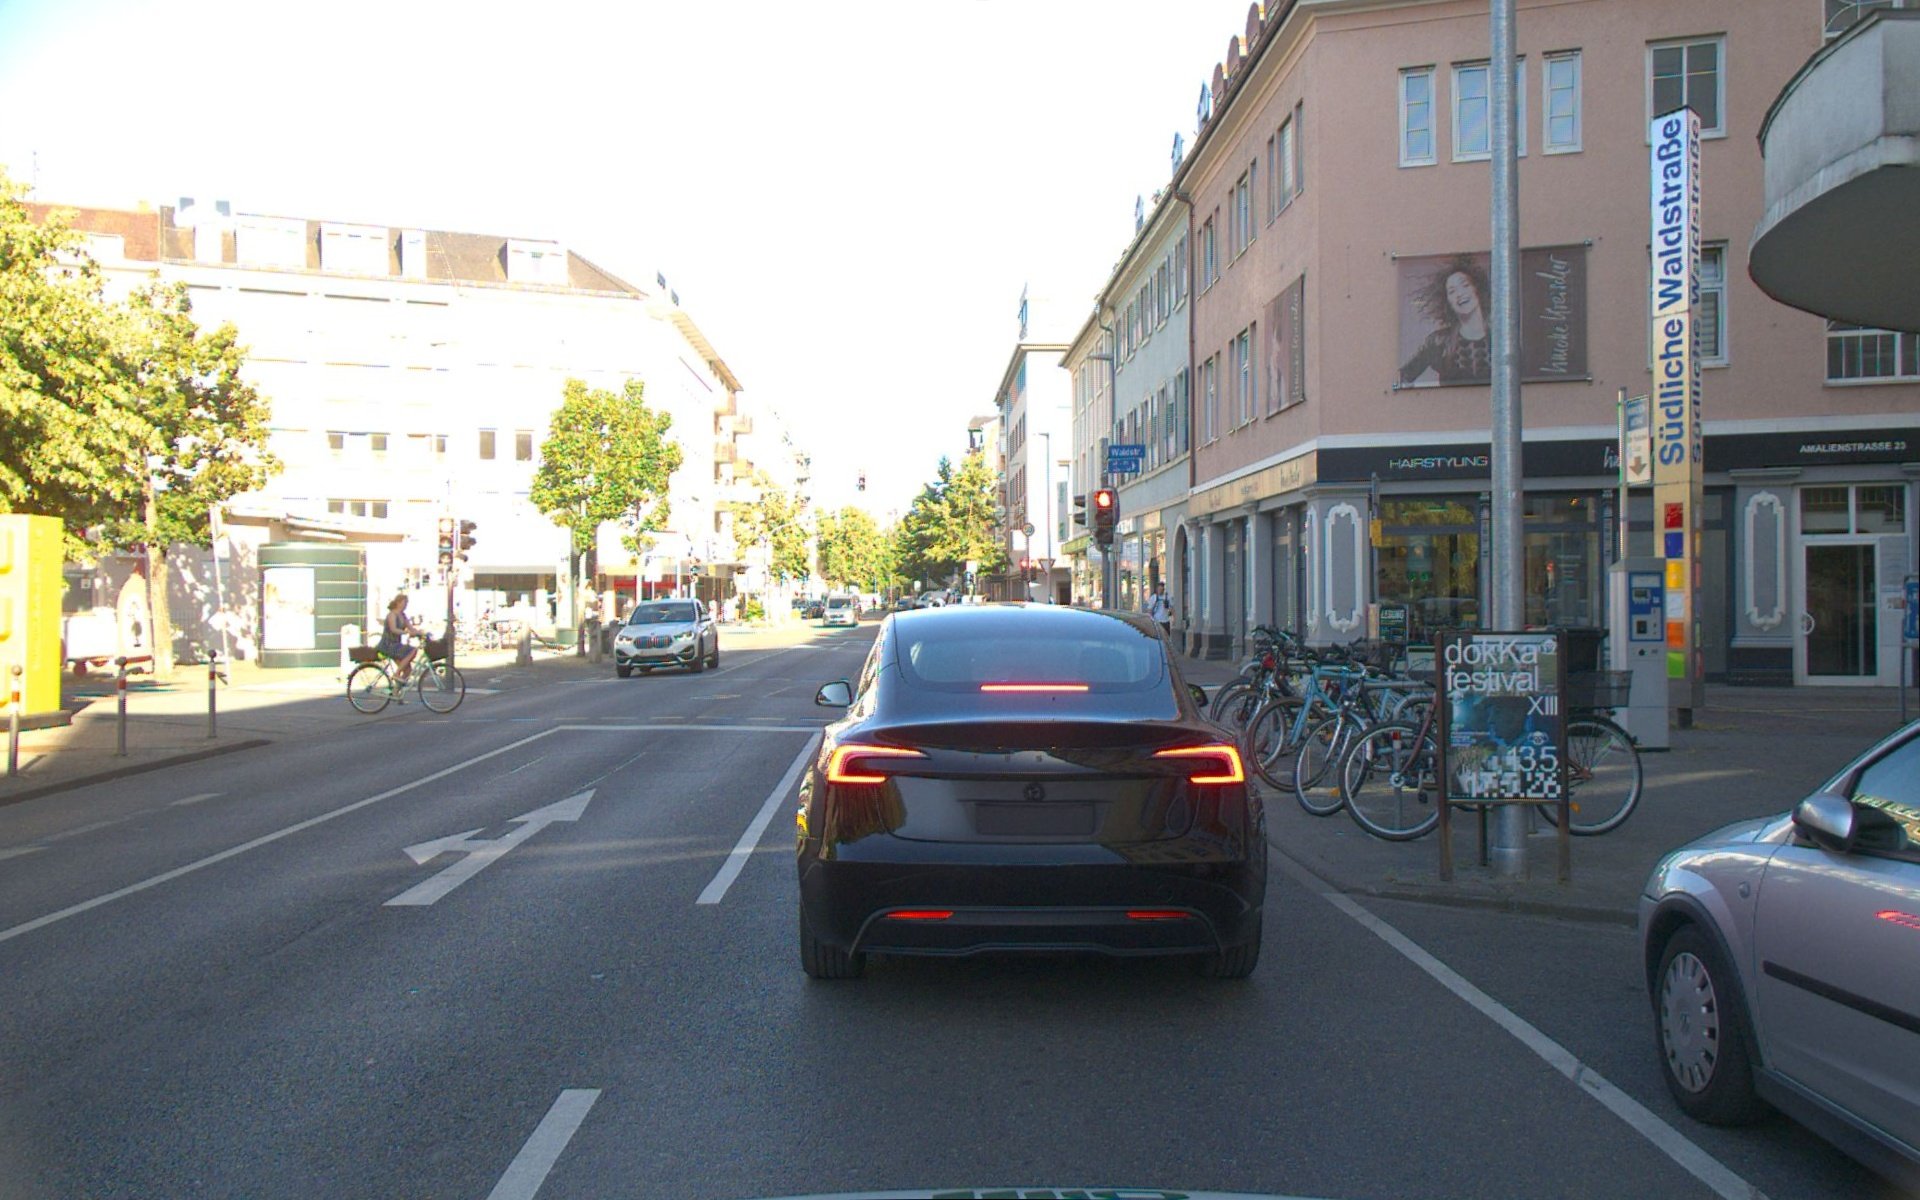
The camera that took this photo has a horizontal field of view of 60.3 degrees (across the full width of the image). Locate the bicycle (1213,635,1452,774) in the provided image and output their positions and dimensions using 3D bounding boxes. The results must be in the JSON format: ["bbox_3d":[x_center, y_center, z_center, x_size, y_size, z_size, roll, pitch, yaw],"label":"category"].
[{"bbox_3d":[3.047,0.853,13.641,1.833,1.056,0.548,-2,-1,5],"label":"bicycle"}]

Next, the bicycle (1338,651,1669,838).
[{"bbox_3d":[3.262,0.869,10.007,1.833,1.056,0.353,-2,-1,6],"label":"bicycle"}]

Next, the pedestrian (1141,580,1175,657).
[{"bbox_3d":[4.671,0.428,38.968,0.735,1.796,0.837,0,-1,3],"label":"pedestrian"}]

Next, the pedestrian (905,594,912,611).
[{"bbox_3d":[-6.366,0.348,204.380,0.912,2.049,0.938,1,-1,-1],"label":"pedestrian"}]

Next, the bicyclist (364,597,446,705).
[{"bbox_3d":[-7.977,0.724,23.793,0.871,1.508,0.702,1,0,7],"label":"bicyclist"}]

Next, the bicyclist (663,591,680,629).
[{"bbox_3d":[-11.515,0.392,65.981,0.516,1.530,0.472,1,-1,-25],"label":"bicyclist"}]

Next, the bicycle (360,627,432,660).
[{"bbox_3d":[-14.452,1.112,42.392,1.612,0.806,0.606,1,0,-5],"label":"bicycle"}]

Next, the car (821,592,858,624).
[{"bbox_3d":[-6.763,0.448,93.094,1.751,1.675,4.401,1,0,-1],"label":"car"}]

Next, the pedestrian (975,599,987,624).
[{"bbox_3d":[1.207,0.645,95.120,0.516,1.447,0.474,1,-1,-31],"label":"pedestrian"}]

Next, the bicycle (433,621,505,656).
[{"bbox_3d":[-13.960,1.089,47.060,1.826,0.950,0.606,1,0,-2],"label":"bicycle"}]

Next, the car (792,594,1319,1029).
[{"bbox_3d":[0.301,0.725,7.613,1.785,1.467,3.999,0,0,-1],"label":"car"}]

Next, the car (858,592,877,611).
[{"bbox_3d":[-10.426,0.172,186.927,1.953,2.049,3.999,1,0,-1],"label":"car"}]

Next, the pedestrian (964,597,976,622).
[{"bbox_3d":[0.587,0.538,95.824,0.467,1.442,0.516,1,-1,-32],"label":"pedestrian"}]

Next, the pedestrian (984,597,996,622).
[{"bbox_3d":[1.751,0.539,95.806,0.516,1.447,0.474,1,-1,-31],"label":"pedestrian"}]

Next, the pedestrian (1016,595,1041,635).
[{"bbox_3d":[2.871,0.614,69.492,0.742,1.660,0.951,1,-1,-18],"label":"pedestrian"}]

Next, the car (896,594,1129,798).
[{"bbox_3d":[0.308,0.689,13.827,1.683,1.450,3.755,0,0,-2],"label":"car"}]

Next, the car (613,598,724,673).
[{"bbox_3d":[-6.290,0.743,36.074,1.752,1.485,3.756,-2,0,-1],"label":"car"}]

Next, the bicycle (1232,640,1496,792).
[{"bbox_3d":[3.021,0.867,12.473,1.834,1.056,0.533,-2,-1,3],"label":"bicycle"}]

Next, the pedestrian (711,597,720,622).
[{"bbox_3d":[-14.271,0.557,96.552,0.451,1.486,0.517,0,0,-6],"label":"pedestrian"}]

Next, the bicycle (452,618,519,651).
[{"bbox_3d":[-14.196,1.019,49.530,1.826,0.950,0.606,1,0,-2],"label":"bicycle"}]

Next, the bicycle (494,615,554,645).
[{"bbox_3d":[-14.371,0.991,54.551,1.826,0.950,0.606,0,0,-2],"label":"bicycle"}]

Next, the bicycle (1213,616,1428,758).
[{"bbox_3d":[3.198,0.770,14.783,1.789,1.189,0.506,-2,-1,5],"label":"bicycle"}]

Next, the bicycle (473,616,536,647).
[{"bbox_3d":[-14.335,0.982,52.103,1.826,0.950,0.606,0,0,-2],"label":"bicycle"}]

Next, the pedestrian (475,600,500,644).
[{"bbox_3d":[-22.140,1.037,77.532,1.041,2.049,1.049,1,-1,-20],"label":"pedestrian"}]

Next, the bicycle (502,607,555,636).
[{"bbox_3d":[-20.203,1.025,77.510,2.334,1.318,0.509,1,-1,-27],"label":"bicycle"}]

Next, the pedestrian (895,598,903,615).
[{"bbox_3d":[-7.544,0.797,204.476,0.912,2.049,0.938,1,-1,-1],"label":"pedestrian"}]

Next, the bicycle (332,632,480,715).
[{"bbox_3d":[-7.957,1.041,23.786,1.893,1.137,0.709,1,0,7],"label":"bicycle"}]

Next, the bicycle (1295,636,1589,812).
[{"bbox_3d":[3.239,0.831,11.190,1.834,1.106,0.414,-2,-1,3],"label":"bicycle"}]

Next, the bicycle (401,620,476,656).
[{"bbox_3d":[-14.168,1.030,44.979,1.826,0.950,0.606,0,0,-2],"label":"bicycle"}]

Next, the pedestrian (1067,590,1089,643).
[{"bbox_3d":[4.014,0.556,56.461,0.692,1.773,0.540,0,0,-1],"label":"pedestrian"}]

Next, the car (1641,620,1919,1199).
[{"bbox_3d":[2.908,0.766,3.497,1.515,1.415,3.476,0,0,0],"label":"car"}]

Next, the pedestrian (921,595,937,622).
[{"bbox_3d":[-1.964,0.519,104.012,0.708,1.725,0.843,0,0,-28],"label":"pedestrian"}]
